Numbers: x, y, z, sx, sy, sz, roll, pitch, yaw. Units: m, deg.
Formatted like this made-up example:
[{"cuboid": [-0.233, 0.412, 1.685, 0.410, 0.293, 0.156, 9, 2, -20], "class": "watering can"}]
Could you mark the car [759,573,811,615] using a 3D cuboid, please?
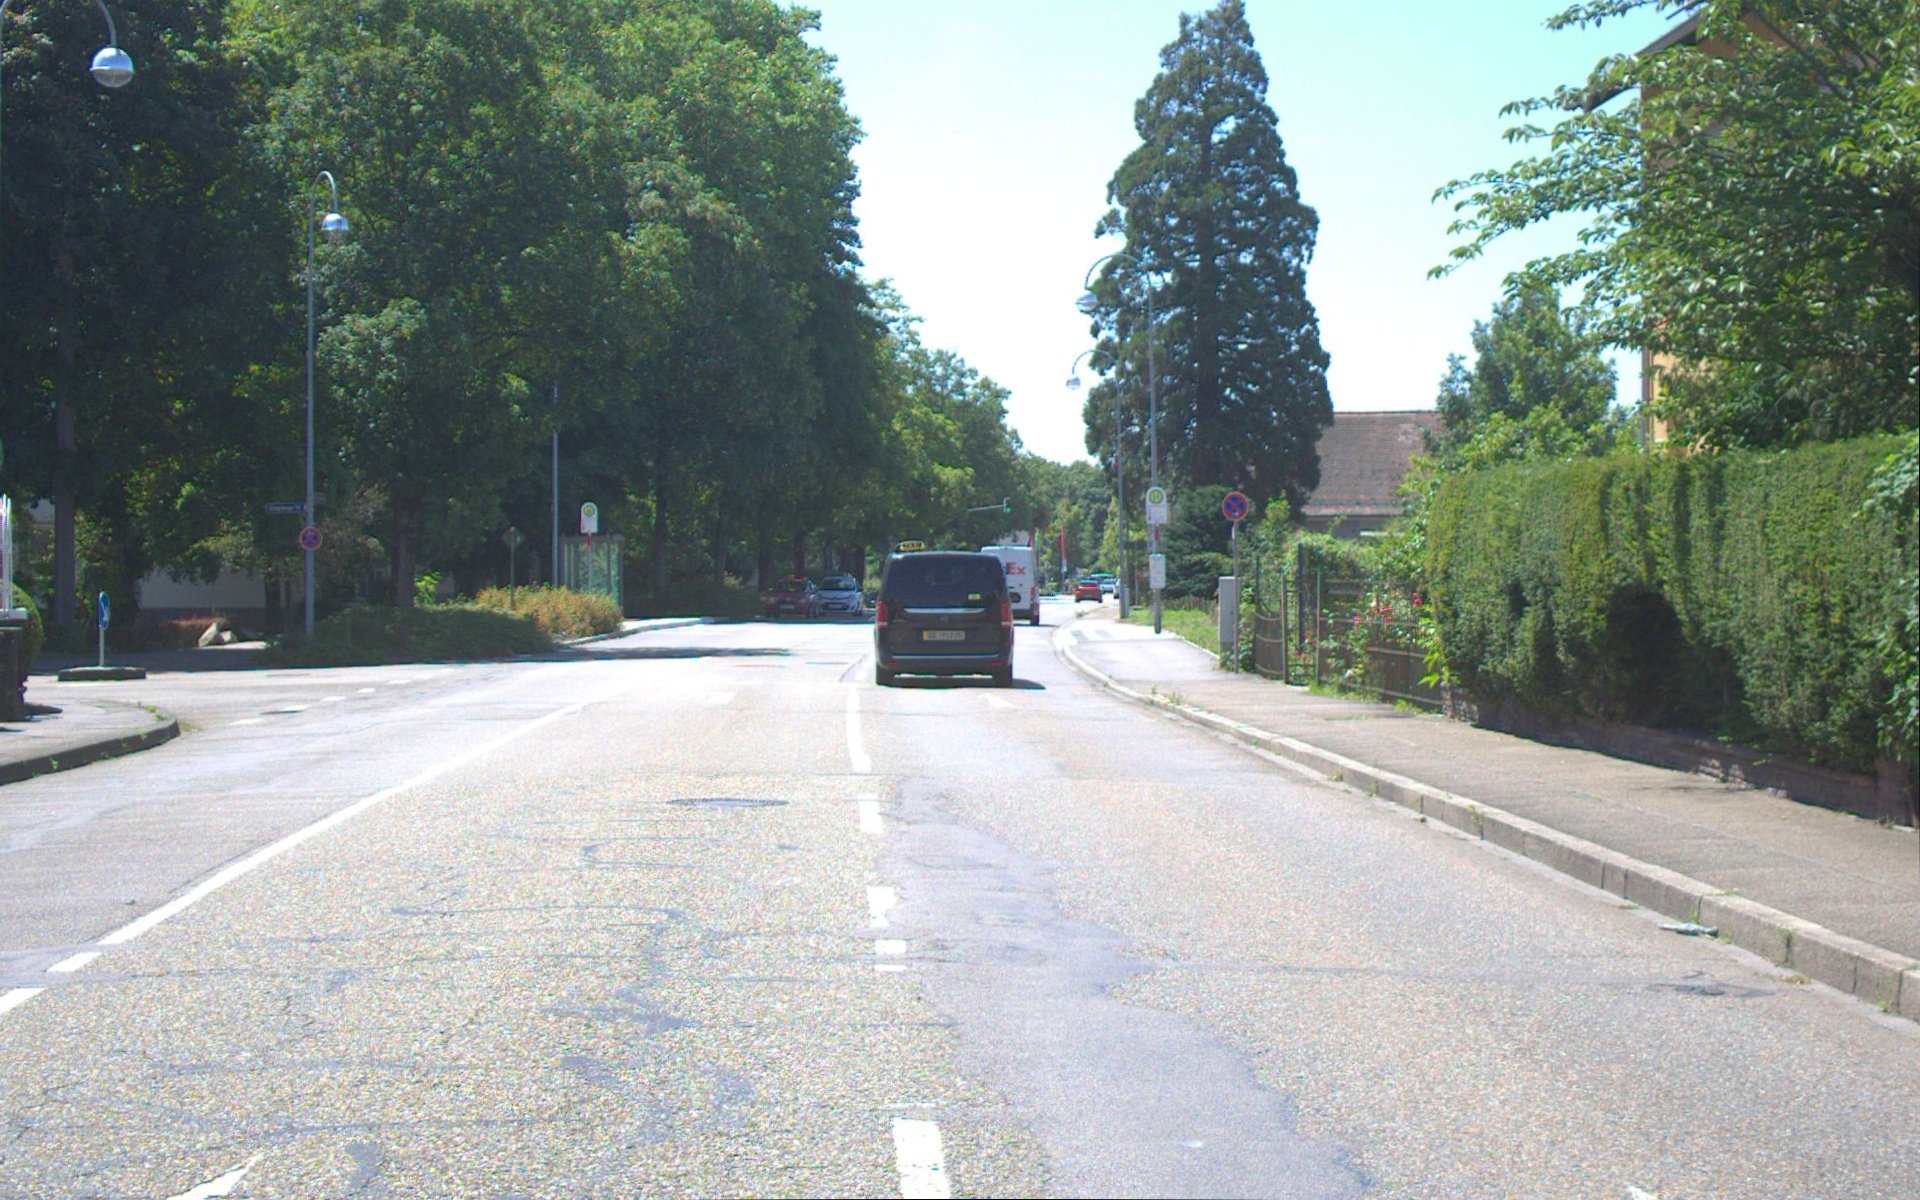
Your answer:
[{"cuboid": [-6.157, -0.220, 121.154, 1.550, 1.445, 3.690, 1, 0, 1], "class": "car"}]

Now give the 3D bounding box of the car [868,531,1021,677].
[{"cuboid": [-0.212, 0.016, 47.664, 1.993, 1.887, 4.000, 1, 1, 0], "class": "car"}]

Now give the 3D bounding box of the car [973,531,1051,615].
[{"cuboid": [1.746, -0.934, 113.917, 2.120, 2.668, 5.661, 1, 1, 5], "class": "car"}]

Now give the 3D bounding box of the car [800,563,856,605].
[{"cuboid": [-4.915, -0.600, 128.336, 1.691, 1.455, 3.639, 1, 1, 4], "class": "car"}]

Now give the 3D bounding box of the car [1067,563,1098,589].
[{"cuboid": [8.043, -1.601, 226.773, 1.857, 1.637, 4.000, 1, 1, 0], "class": "car"}]
